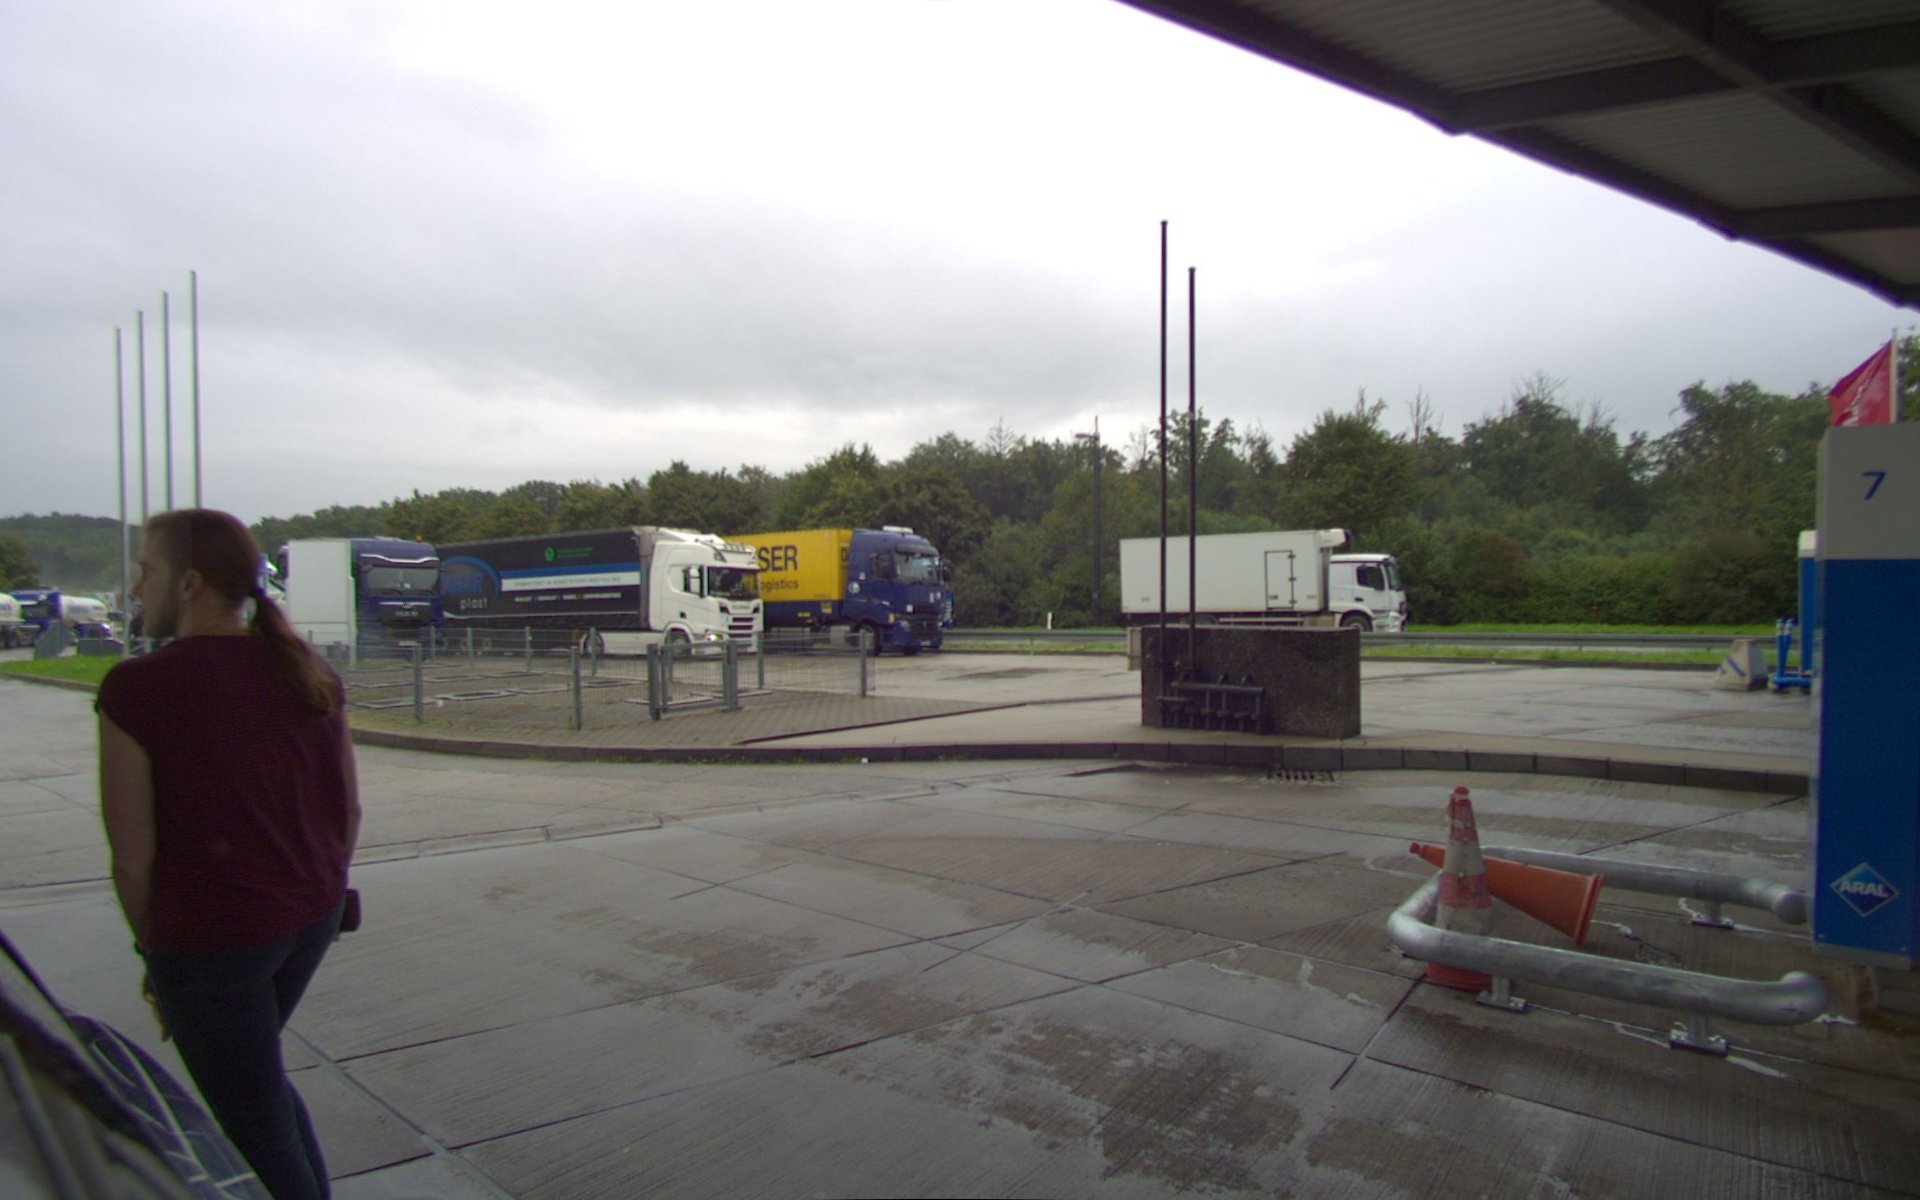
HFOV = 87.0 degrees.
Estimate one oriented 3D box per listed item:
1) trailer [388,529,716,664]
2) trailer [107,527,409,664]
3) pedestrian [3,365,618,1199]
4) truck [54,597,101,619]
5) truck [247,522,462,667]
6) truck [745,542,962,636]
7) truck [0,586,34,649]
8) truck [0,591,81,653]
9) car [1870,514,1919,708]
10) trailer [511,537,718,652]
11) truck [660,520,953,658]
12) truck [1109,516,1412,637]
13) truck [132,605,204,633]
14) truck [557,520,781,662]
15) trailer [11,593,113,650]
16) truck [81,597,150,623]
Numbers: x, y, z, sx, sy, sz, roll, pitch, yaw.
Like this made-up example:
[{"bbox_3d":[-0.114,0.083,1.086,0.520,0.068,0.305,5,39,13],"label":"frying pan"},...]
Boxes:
[{"bbox_3d":[-14.578,-0.042,35.251,13.758,4.063,2.960,-1,0,31],"label":"trailer"},{"bbox_3d":[-25.432,-0.059,35.932,16.563,4.063,2.957,-1,0,34],"label":"trailer"},{"bbox_3d":[-1.247,0.556,1.964,0.839,1.747,0.786,-1,-1,40],"label":"pedestrian"},{"bbox_3d":[-147.492,1.401,169.083,11.949,3.591,3.213,-1,0,36],"label":"truck"},{"bbox_3d":[-19.008,-0.116,31.629,7.244,4.063,2.957,-1,0,34],"label":"truck"},{"bbox_3d":[-5.157,-0.434,47.699,10.433,4.063,2.961,-1,0,30],"label":"truck"},{"bbox_3d":[-55.574,1.012,55.022,3.196,3.591,12.013,-1,0,-19],"label":"truck"},{"bbox_3d":[-59.441,1.364,65.001,3.000,3.795,6.486,-1,0,-27],"label":"truck"},{"bbox_3d":[14.877,0.114,12.414,5.272,2.482,2.298,-1,-2,37],"label":"car"},{"bbox_3d":[-13.562,-0.168,39.297,8.833,4.063,2.743,-1,0,33],"label":"trailer"},{"bbox_3d":[-5.406,-0.272,33.964,10.608,4.063,2.743,-1,0,33],"label":"truck"},{"bbox_3d":[11.013,-0.735,37.734,10.433,4.063,2.961,-1,0,30],"label":"truck"},{"bbox_3d":[-106.264,2.511,135.630,14.626,3.591,3.215,-1,-1,34],"label":"truck"},{"bbox_3d":[-9.216,-0.221,31.928,6.715,4.063,2.961,-1,0,30],"label":"truck"},{"bbox_3d":[-62.287,1.427,70.487,2.854,3.666,10.605,-1,0,-28],"label":"trailer"},{"bbox_3d":[-122.330,1.527,146.401,16.515,3.591,3.215,-1,0,34],"label":"truck"}]
